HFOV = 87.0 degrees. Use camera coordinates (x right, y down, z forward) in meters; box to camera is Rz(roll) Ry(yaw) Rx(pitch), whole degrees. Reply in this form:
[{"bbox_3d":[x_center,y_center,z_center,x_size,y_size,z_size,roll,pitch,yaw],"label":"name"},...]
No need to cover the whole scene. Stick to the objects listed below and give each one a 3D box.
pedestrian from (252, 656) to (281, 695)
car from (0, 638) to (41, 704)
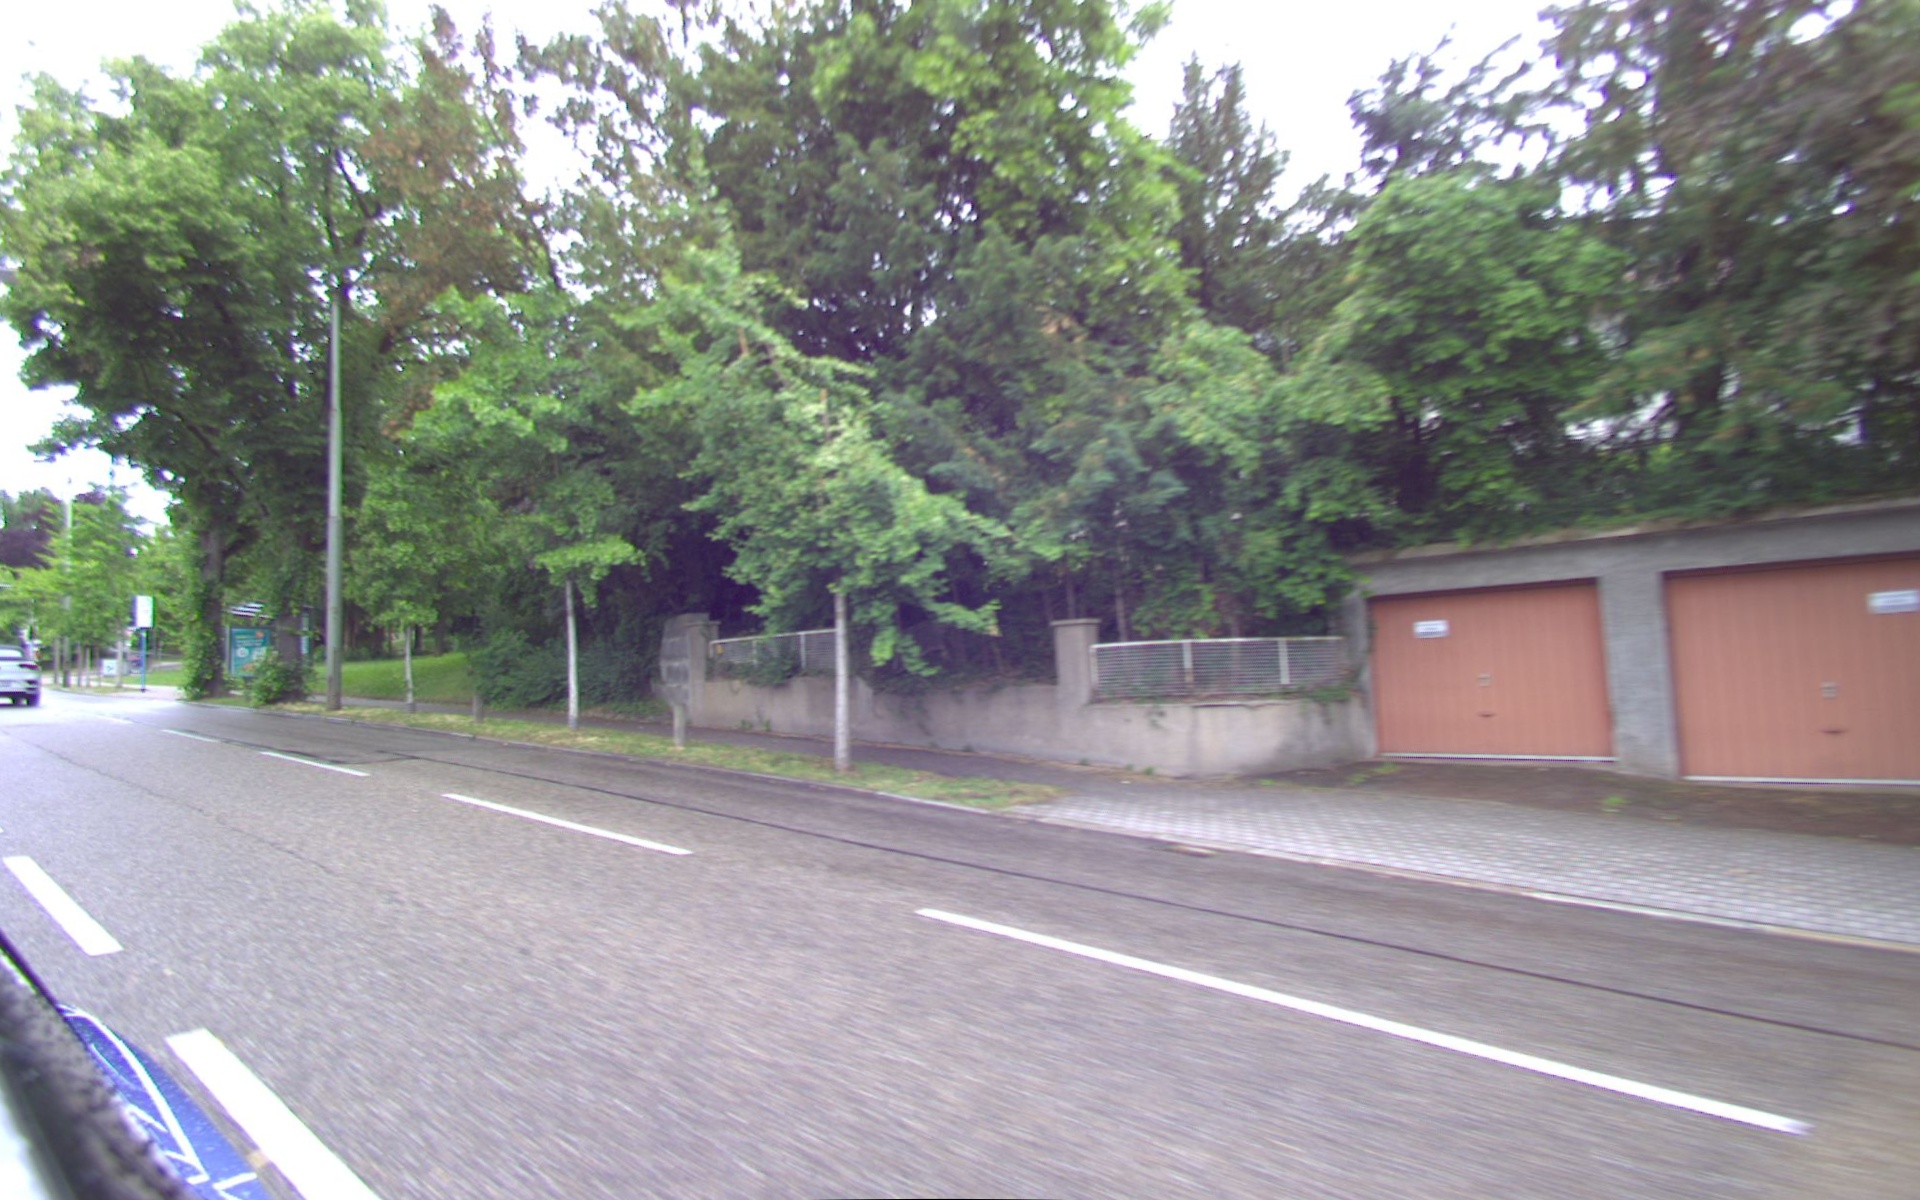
[{"bbox_3d":[-24.475,2.665,35.715,0.766,1.311,0.745,0,-2,-41],"label":"pedestrian"},{"bbox_3d":[-24.414,1.735,25.206,4.091,1.521,1.775,-1,-2,41],"label":"car"}]
